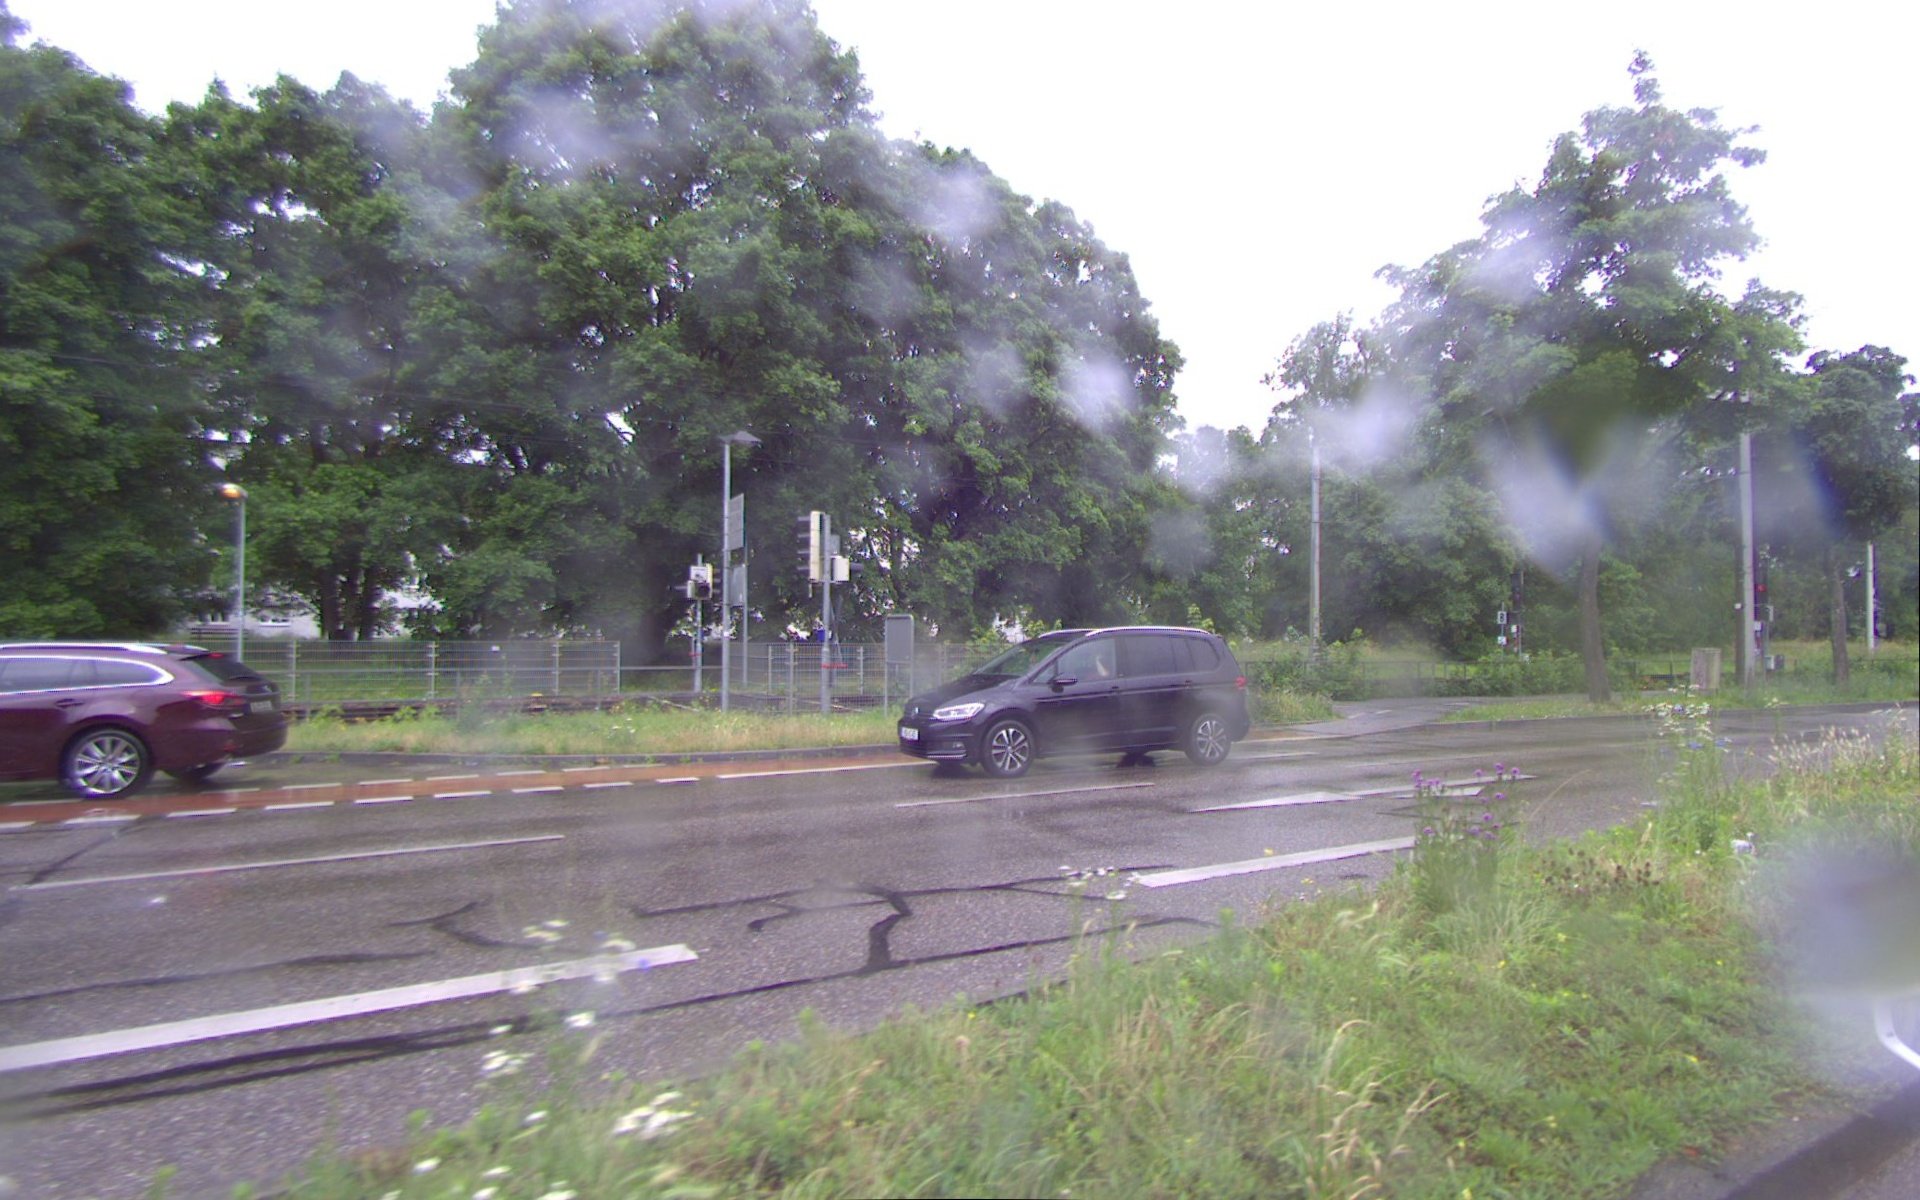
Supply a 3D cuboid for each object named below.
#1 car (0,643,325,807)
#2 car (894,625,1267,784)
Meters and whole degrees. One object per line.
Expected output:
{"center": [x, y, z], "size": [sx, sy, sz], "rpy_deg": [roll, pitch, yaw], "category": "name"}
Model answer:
{"center": [-9.281, 1.194, 10.146], "size": [4.432, 1.505, 1.872], "rpy_deg": [1, -2, -16], "category": "car"}
{"center": [1.490, 1.187, 12.233], "size": [4.272, 1.663, 1.702], "rpy_deg": [1, -3, -25], "category": "car"}
